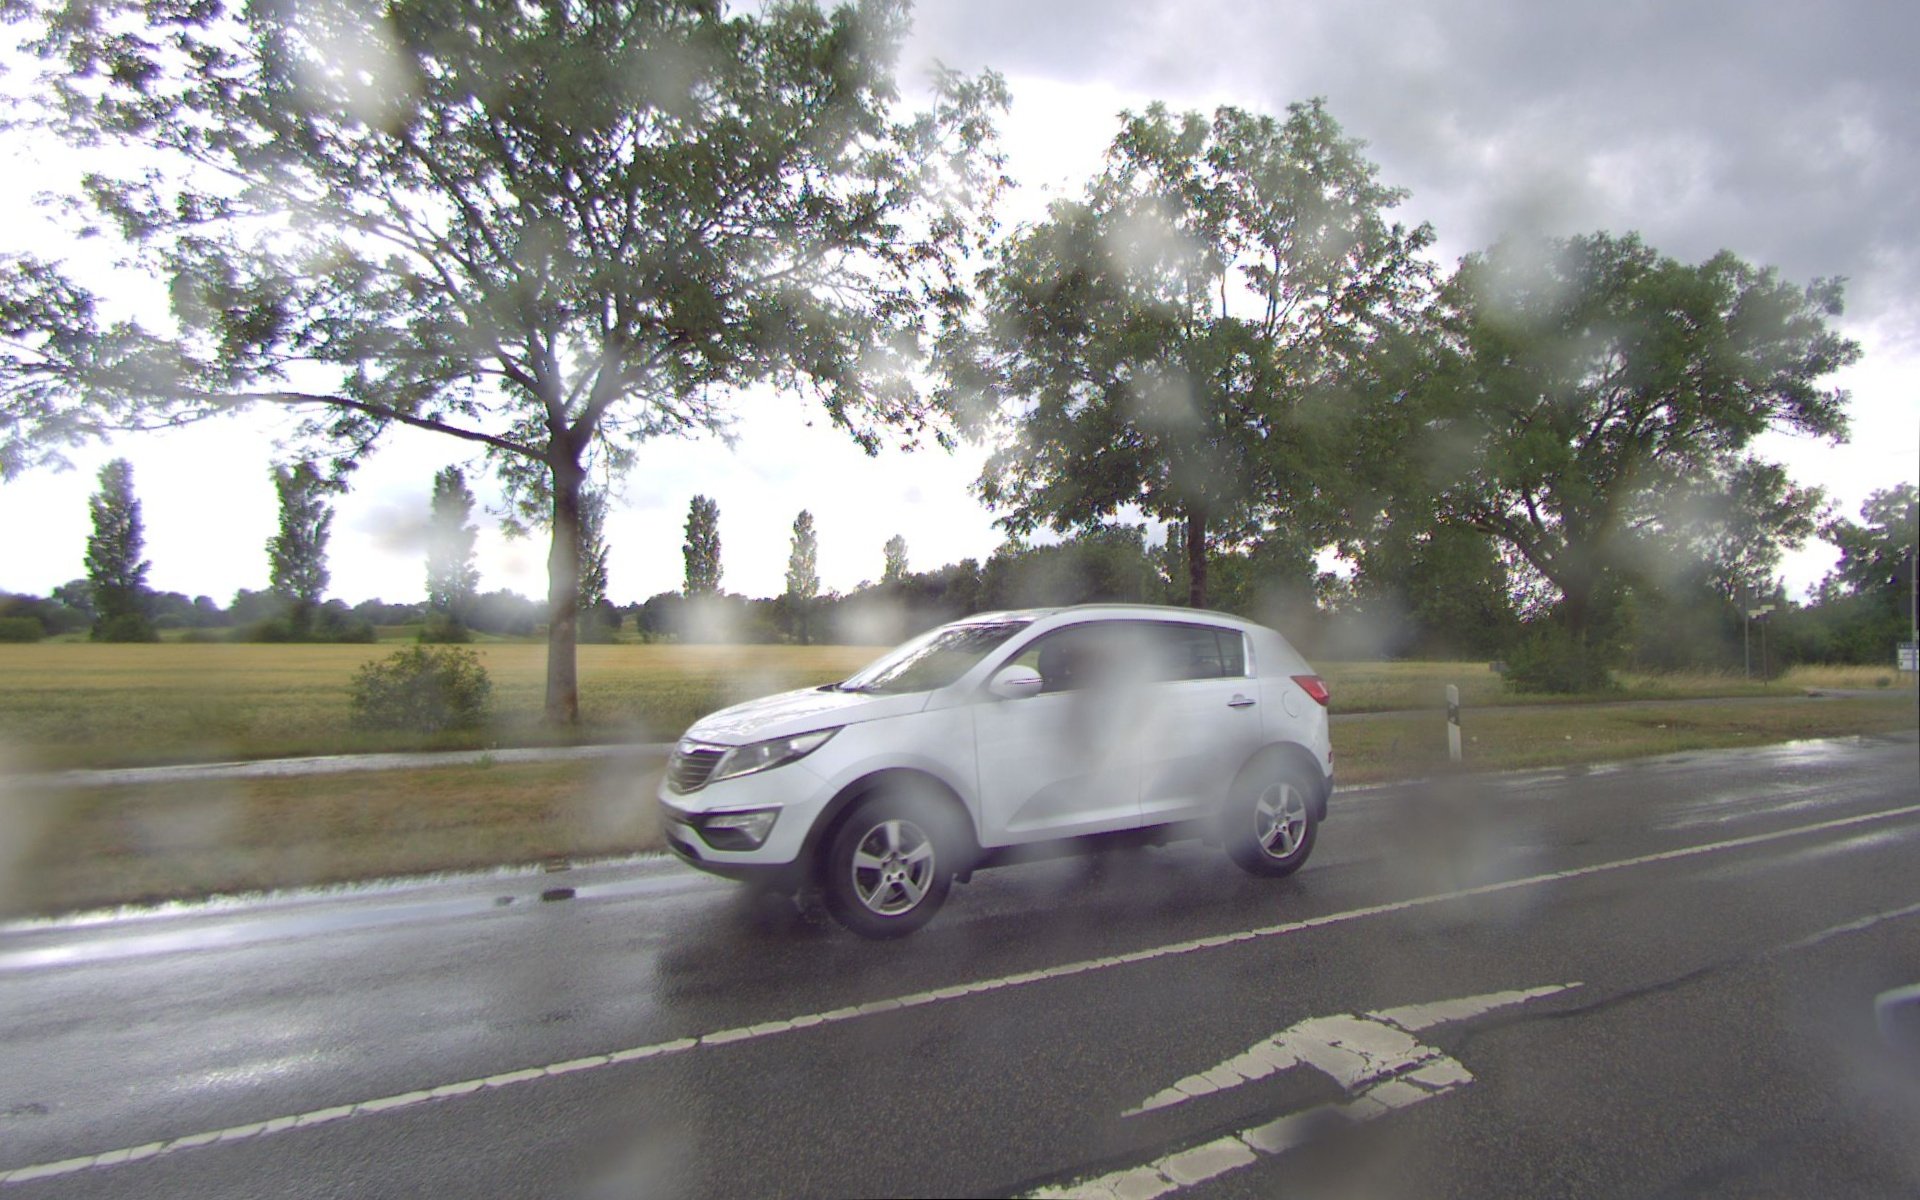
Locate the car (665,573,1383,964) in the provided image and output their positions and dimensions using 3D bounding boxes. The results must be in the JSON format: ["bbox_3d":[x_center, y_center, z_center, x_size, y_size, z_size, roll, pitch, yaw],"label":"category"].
[{"bbox_3d":[0.471,0.820,6.130,4.105,1.693,1.697,1,-4,-29],"label":"car"}]
